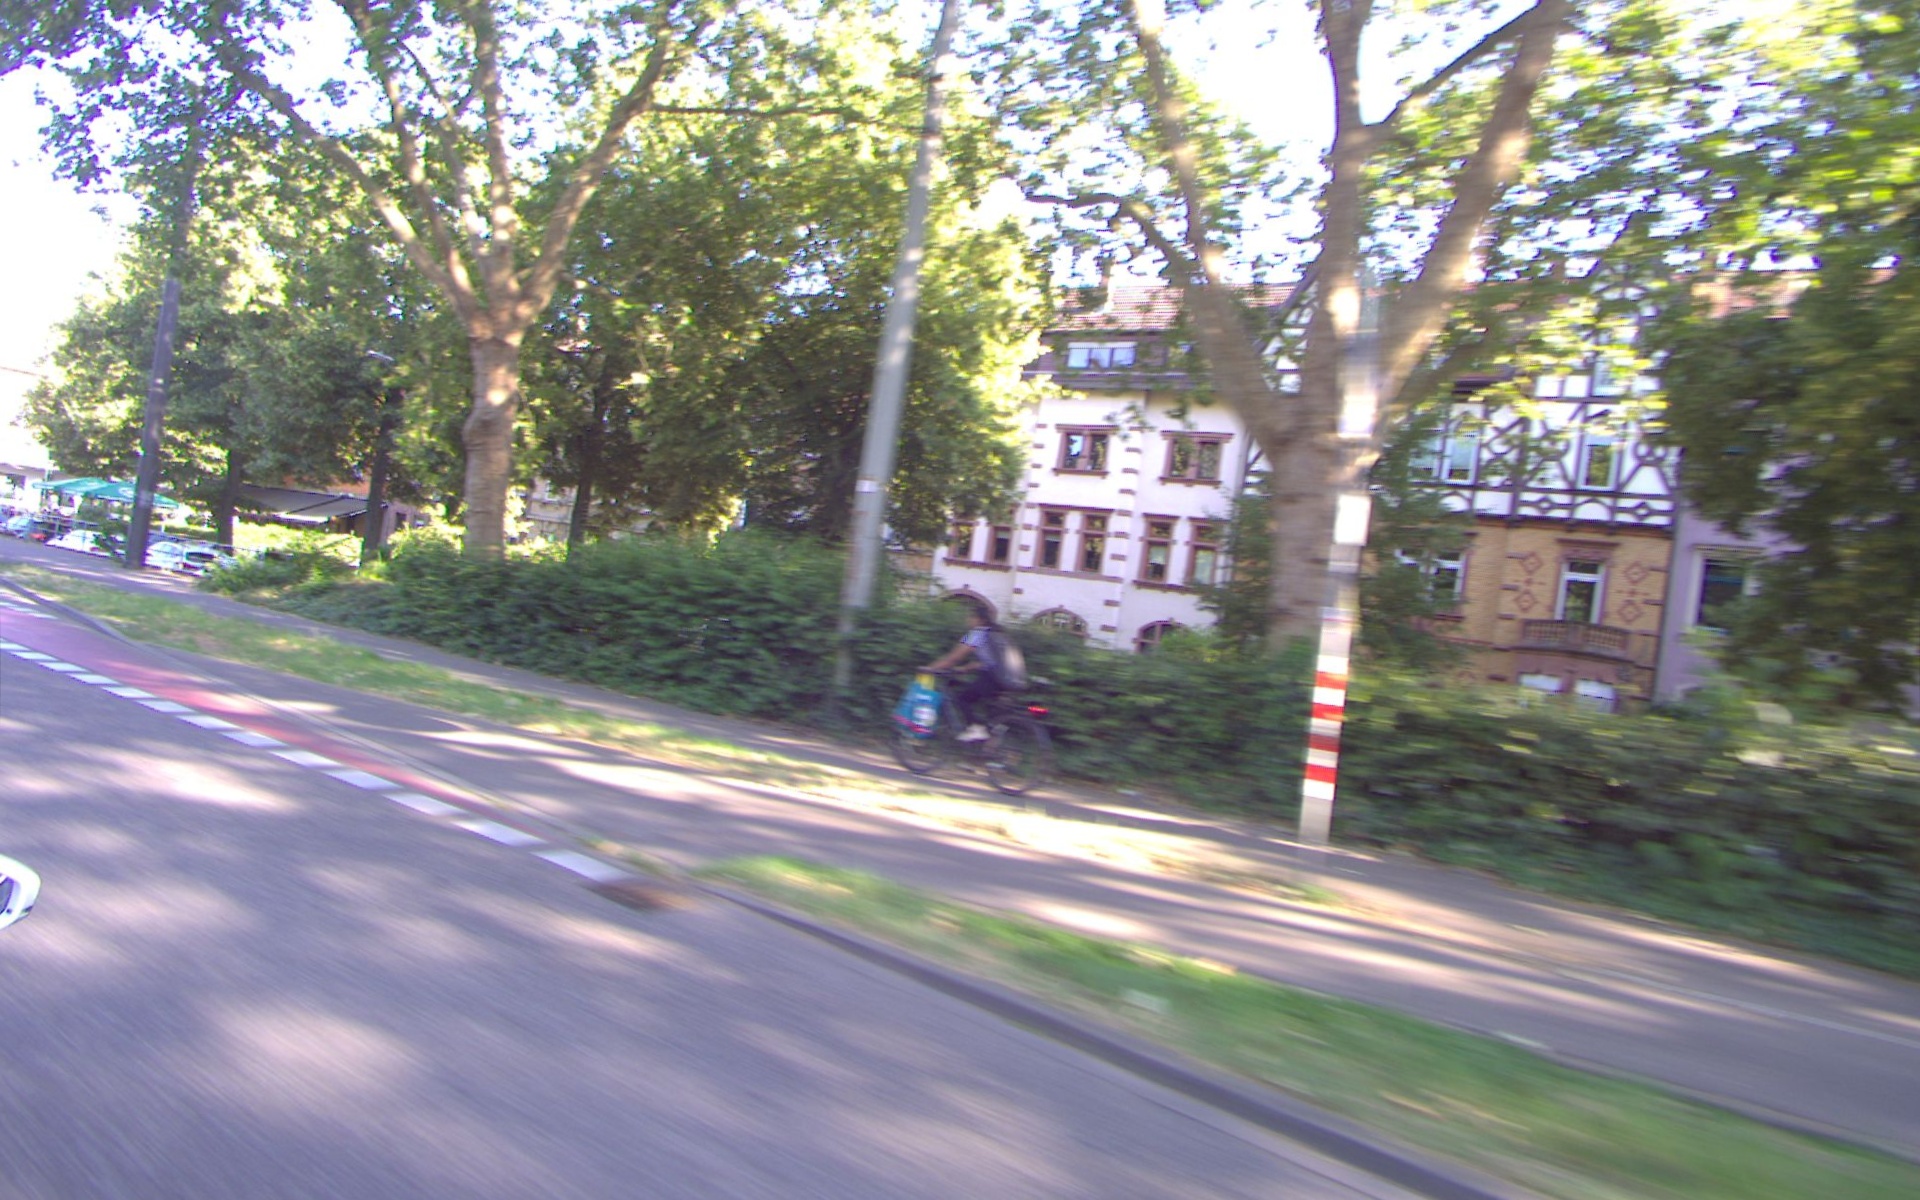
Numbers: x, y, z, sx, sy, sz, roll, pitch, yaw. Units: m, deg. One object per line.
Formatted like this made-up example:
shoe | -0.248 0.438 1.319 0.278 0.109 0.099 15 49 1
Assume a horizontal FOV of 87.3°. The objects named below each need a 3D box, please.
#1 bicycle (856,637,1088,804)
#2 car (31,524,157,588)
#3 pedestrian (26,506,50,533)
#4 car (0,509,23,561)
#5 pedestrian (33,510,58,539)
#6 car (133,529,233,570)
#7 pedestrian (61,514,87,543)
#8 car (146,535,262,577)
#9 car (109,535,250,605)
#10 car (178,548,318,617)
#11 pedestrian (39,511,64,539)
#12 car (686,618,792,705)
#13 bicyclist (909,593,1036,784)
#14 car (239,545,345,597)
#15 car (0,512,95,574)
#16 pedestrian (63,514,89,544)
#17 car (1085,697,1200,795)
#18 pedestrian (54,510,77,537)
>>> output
bicycle | 0.091 1.016 8.826 1.770 1.121 0.767 7 0 31
car | -29.112 -1.505 33.798 4.369 1.596 1.798 6 -3 31
pedestrian | -51.787 -4.526 56.499 0.621 1.352 0.650 7 -3 32
car | -39.282 -2.786 39.848 4.285 1.919 1.799 6 -2 29
pedestrian | -47.734 -3.940 52.504 0.621 1.352 0.650 7 -3 32
car | -36.078 -2.321 46.866 1.769 1.498 3.994 8 0 -7
pedestrian | -44.881 -3.621 50.945 0.621 1.352 0.650 7 -3 32
car | -33.408 -1.908 44.636 1.929 1.423 4.247 8 0 -3
car | -23.990 -0.939 30.901 4.477 1.596 1.798 6 -3 31
car | -20.268 -0.494 28.628 3.516 1.457 1.799 6 -3 30
pedestrian | -48.262 -3.967 53.429 0.621 1.352 0.650 7 -3 32
car | -6.213 1.668 28.839 1.838 1.990 4.681 8 0 -1
bicyclist | 0.118 0.766 8.826 0.639 1.531 0.767 7 0 31
car | -26.931 -1.127 40.719 1.769 1.756 3.995 8 0 -6
car | -34.247 -2.171 37.110 4.136 1.823 1.801 7 -2 25
pedestrian | -44.262 -3.563 50.394 0.621 1.352 0.650 7 -3 32
car | 4.212 3.358 23.830 1.767 1.529 3.999 8 0 0
pedestrian | -50.510 -4.334 56.793 0.621 1.352 0.650 7 -3 32
